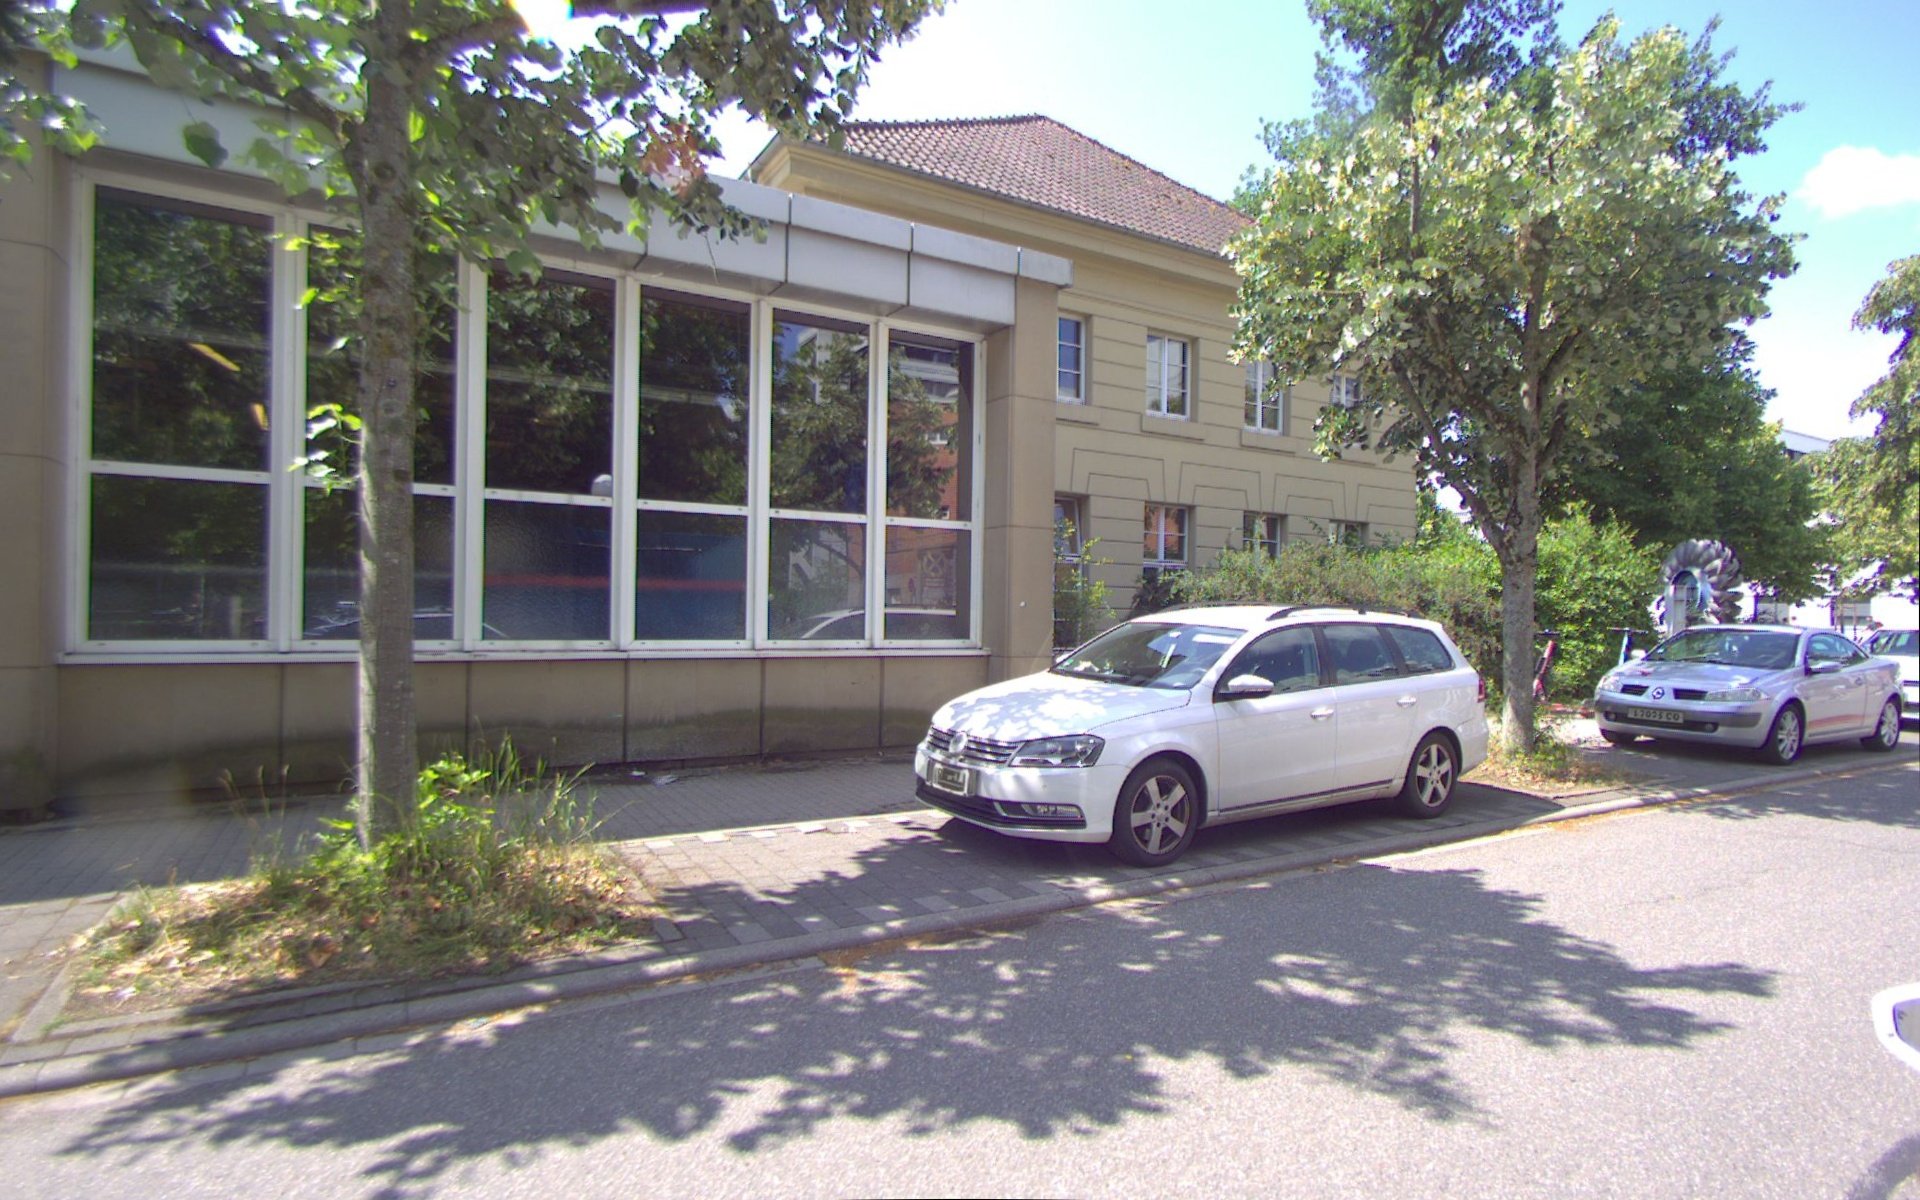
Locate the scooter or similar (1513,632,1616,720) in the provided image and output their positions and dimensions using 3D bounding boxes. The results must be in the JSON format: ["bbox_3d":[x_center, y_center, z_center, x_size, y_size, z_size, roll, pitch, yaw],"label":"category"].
[{"bbox_3d":[8.406,1.052,13.974,1.205,1.187,0.471,1,0,-11],"label":"scooter or similar"}]

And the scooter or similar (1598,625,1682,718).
[{"bbox_3d":[10.013,1.032,14.787,1.215,1.304,0.522,0,-3,-31],"label":"scooter or similar"}]

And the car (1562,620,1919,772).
[{"bbox_3d":[8.830,0.965,11.284,4.115,1.362,1.717,1,1,-29],"label":"car"}]

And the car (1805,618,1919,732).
[{"bbox_3d":[13.954,1.025,14.423,3.763,1.430,1.653,1,1,-31],"label":"car"}]

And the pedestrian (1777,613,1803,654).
[{"bbox_3d":[36.808,1.471,44.531,0.629,1.772,0.690,1,0,-30],"label":"pedestrian"}]

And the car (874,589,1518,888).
[{"bbox_3d":[1.816,0.749,7.054,4.534,1.476,1.715,2,1,-33],"label":"car"}]

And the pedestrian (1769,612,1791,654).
[{"bbox_3d":[36.075,1.447,44.193,0.579,1.788,0.549,1,0,-30],"label":"pedestrian"}]
